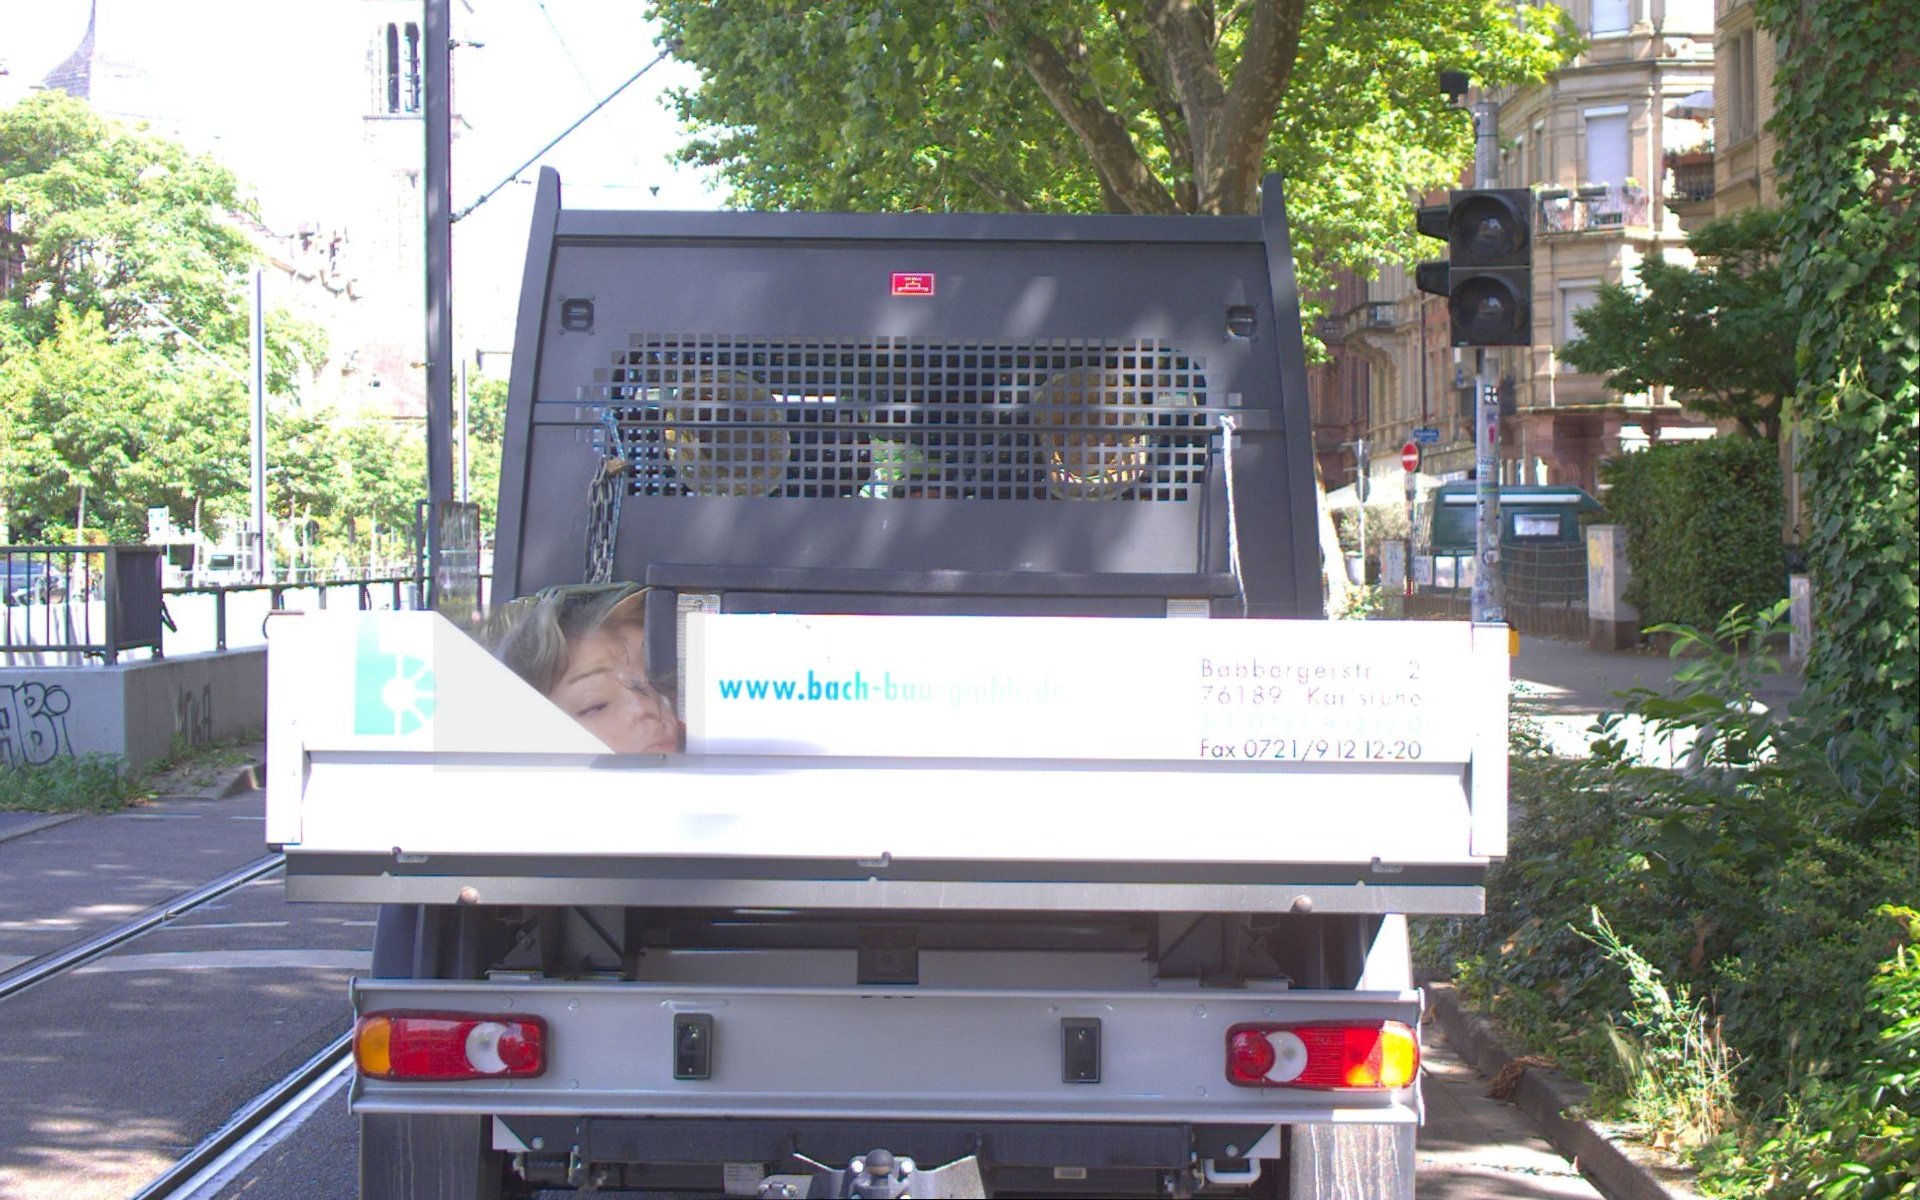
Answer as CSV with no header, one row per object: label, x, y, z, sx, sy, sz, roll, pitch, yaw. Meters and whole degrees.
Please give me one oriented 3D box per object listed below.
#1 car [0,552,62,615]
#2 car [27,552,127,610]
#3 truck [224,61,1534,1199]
car,-23.425,-0.416,84.463,1.770,1.493,4.000,0,1,-2
car,-23.687,-0.530,92.299,1.770,1.493,4.000,0,1,-2
truck,-0.126,0.244,7.838,2.138,2.311,4.401,0,1,0
